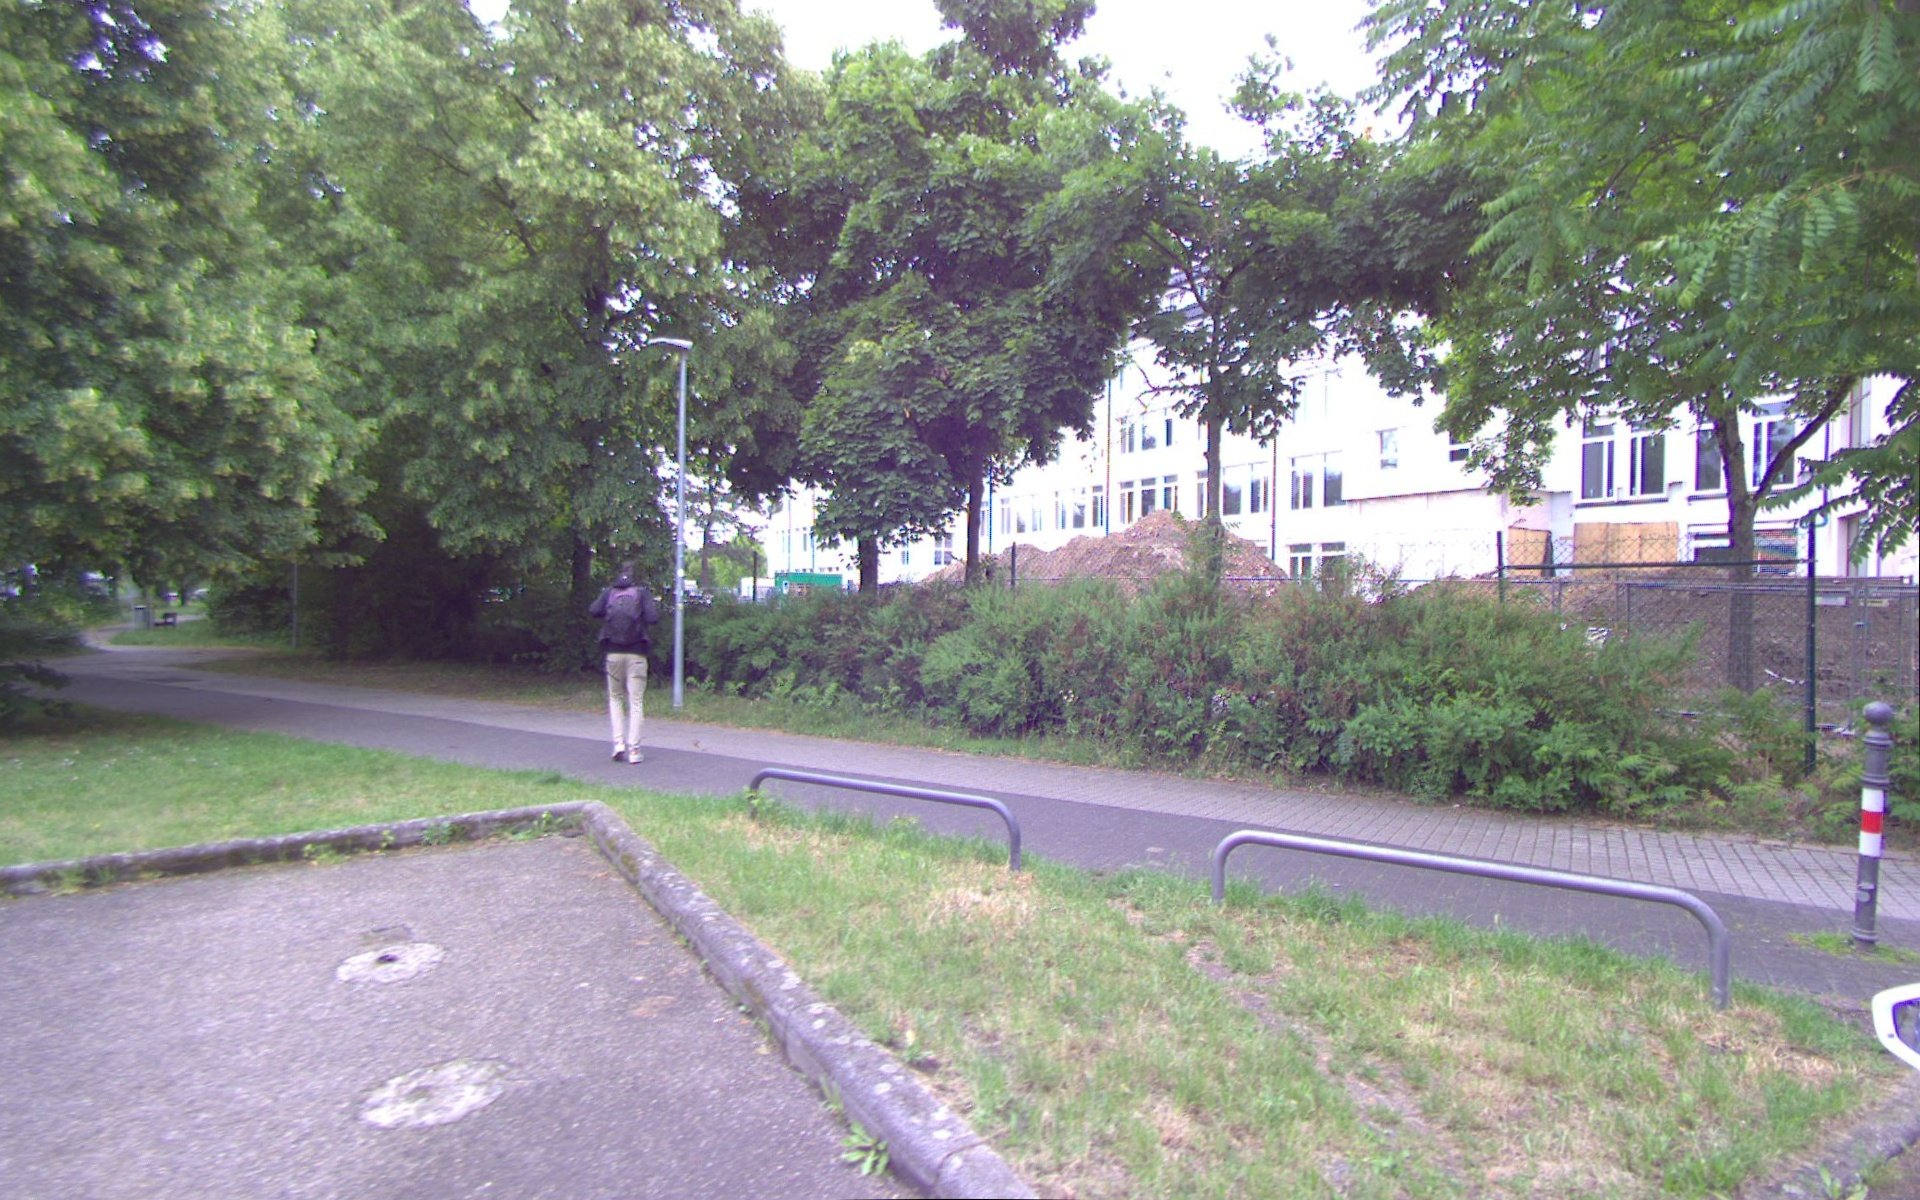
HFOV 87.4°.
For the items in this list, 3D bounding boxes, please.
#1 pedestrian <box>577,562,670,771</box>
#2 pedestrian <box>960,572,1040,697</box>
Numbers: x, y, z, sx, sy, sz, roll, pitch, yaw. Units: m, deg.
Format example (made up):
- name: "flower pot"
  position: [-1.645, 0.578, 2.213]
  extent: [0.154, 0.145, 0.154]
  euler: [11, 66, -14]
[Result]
- name: "pedestrian"
  position: [-3.005, 0.566, 8.960]
  extent: [0.673, 1.773, 0.616]
  euler: [1, 0, -28]
- name: "pedestrian"
  position: [0.684, 0.579, 17.480]
  extent: [0.787, 2.092, 1.189]
  euler: [1, 0, -36]
